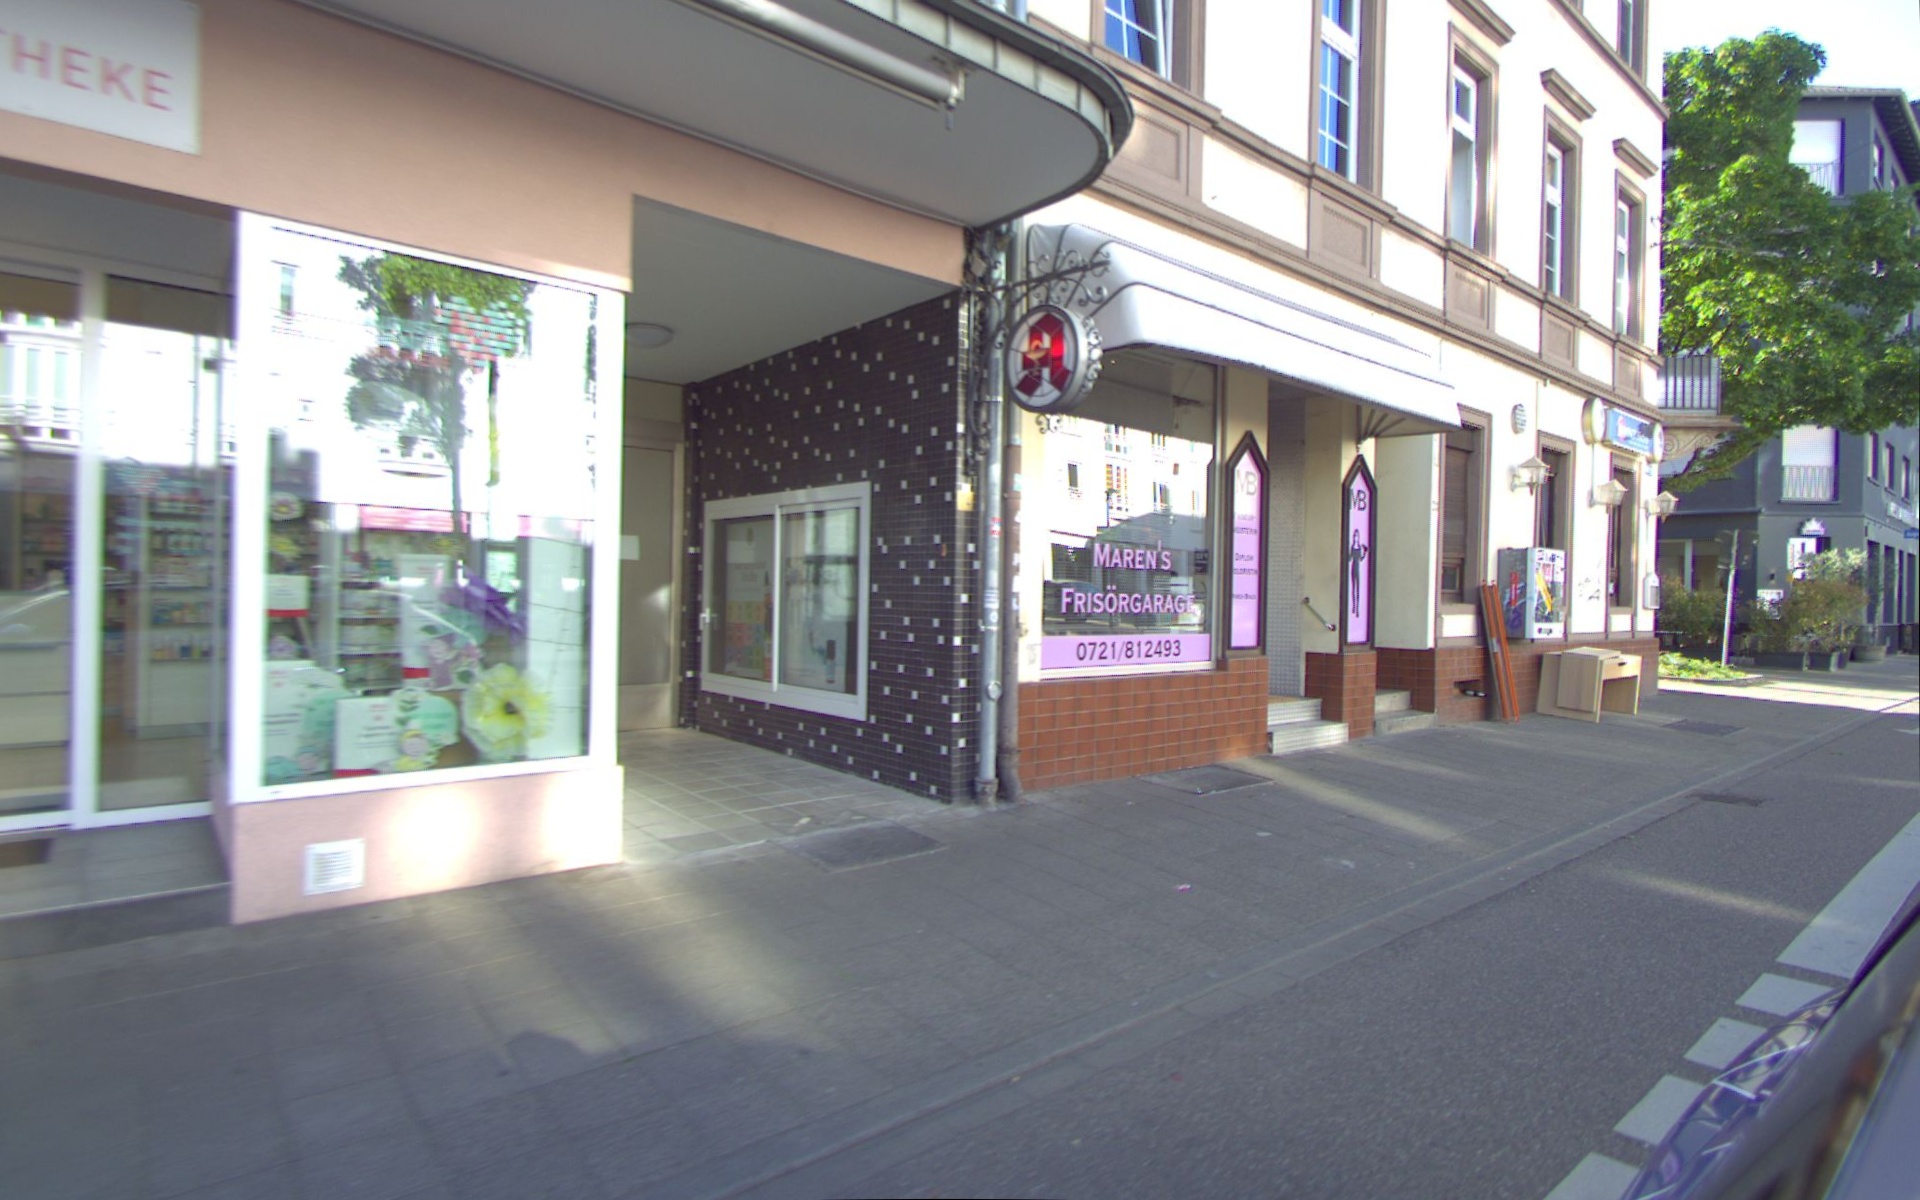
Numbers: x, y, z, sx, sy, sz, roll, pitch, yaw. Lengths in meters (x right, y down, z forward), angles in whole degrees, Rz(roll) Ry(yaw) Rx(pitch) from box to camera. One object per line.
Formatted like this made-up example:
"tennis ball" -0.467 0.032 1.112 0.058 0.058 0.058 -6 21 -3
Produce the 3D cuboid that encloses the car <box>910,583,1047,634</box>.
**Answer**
"car" 0.628 0.302 35.785 4.538 1.693 1.650 1 0 -14
